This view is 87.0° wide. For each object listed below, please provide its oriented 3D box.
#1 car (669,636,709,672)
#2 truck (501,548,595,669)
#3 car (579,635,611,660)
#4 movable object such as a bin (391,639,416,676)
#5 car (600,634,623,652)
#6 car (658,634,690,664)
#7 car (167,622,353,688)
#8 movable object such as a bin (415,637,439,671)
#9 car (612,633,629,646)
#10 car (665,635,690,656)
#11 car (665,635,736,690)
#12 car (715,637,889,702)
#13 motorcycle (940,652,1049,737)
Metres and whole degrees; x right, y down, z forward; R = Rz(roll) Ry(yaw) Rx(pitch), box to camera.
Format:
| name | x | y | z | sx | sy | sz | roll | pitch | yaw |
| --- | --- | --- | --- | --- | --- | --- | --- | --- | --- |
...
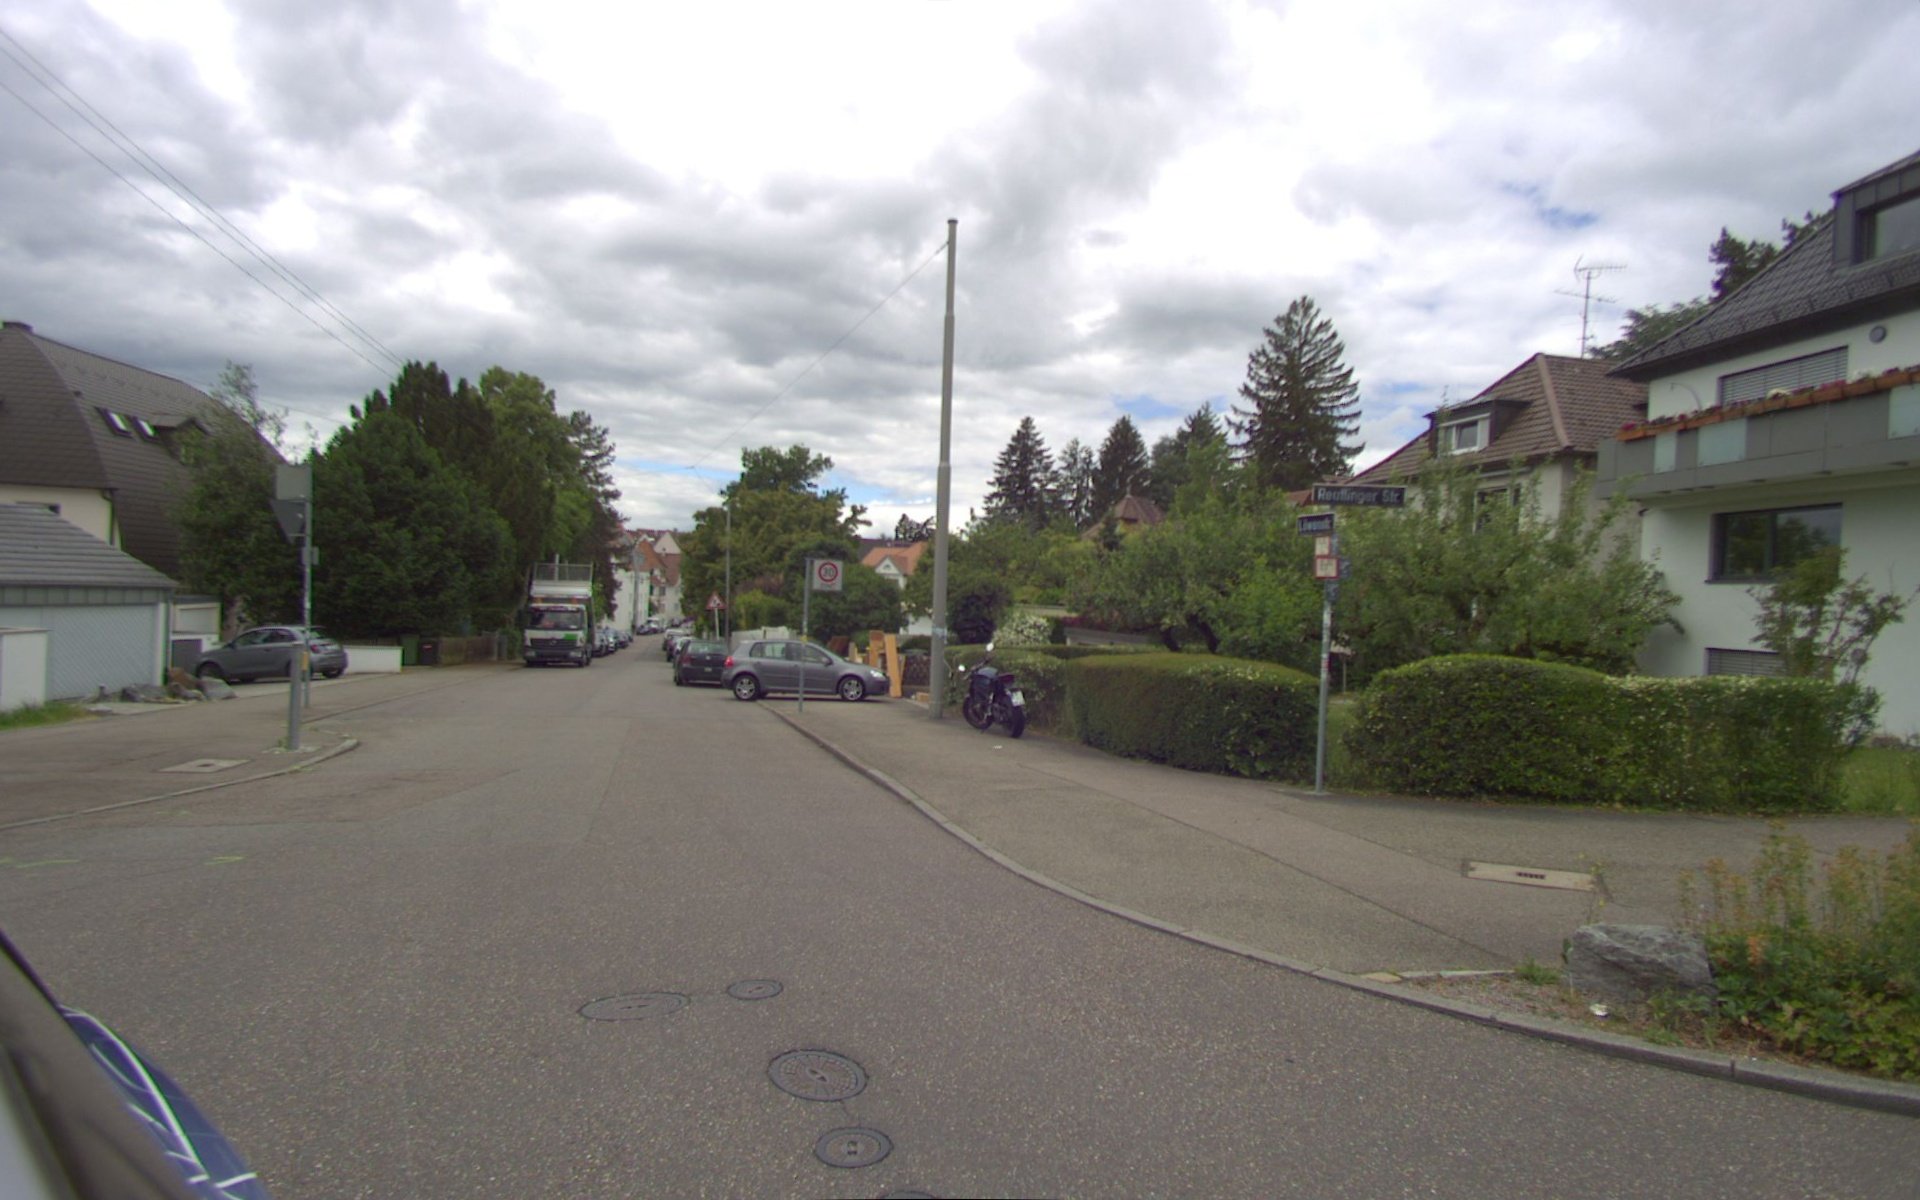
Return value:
| name | x | y | z | sx | sy | sz | roll | pitch | yaw |
| --- | --- | --- | --- | --- | --- | --- | --- | --- | --- |
| car | -12.430 | 2.433 | 46.287 | 1.594 | 1.480 | 3.322 | 5 | -3 | -16 |
| truck | -17.473 | 0.480 | 43.430 | 3.101 | 4.586 | 7.977 | 3 | -3 | -19 |
| car | -24.650 | 3.209 | 68.428 | 1.845 | 1.564 | 3.836 | 2 | -2 | -17 |
| movable object such as a bin | -18.860 | 1.952 | 34.323 | 0.589 | 1.217 | 0.954 | -1 | -4 | -19 |
| car | -32.585 | 3.977 | 94.576 | 1.845 | 1.564 | 3.836 | 2 | -2 | -17 |
| car | -15.895 | 2.697 | 56.169 | 1.594 | 1.480 | 3.322 | 5 | -3 | -16 |
| car | -18.779 | 1.458 | 27.276 | 3.802 | 1.508 | 1.693 | -3 | -2 | -3 |
| movable object such as a bin | -18.152 | 1.856 | 34.474 | 0.589 | 1.114 | 0.954 | -1 | -4 | -19 |
| car | -42.012 | 4.887 | 125.342 | 1.845 | 1.564 | 3.836 | 2 | -2 | -17 |
| car | -25.527 | 4.096 | 91.270 | 1.856 | 1.770 | 3.715 | 2 | -2 | -19 |
| car | -7.948 | 1.861 | 30.834 | 1.729 | 1.455 | 3.814 | 5 | -3 | -18 |
| car | -3.801 | 1.678 | 24.787 | 3.946 | 1.473 | 1.736 | 1 | -3 | 2 |
| motorcycle | 0.482 | 1.392 | 15.291 | 0.761 | 1.148 | 2.153 | 3 | -3 | -24 |
